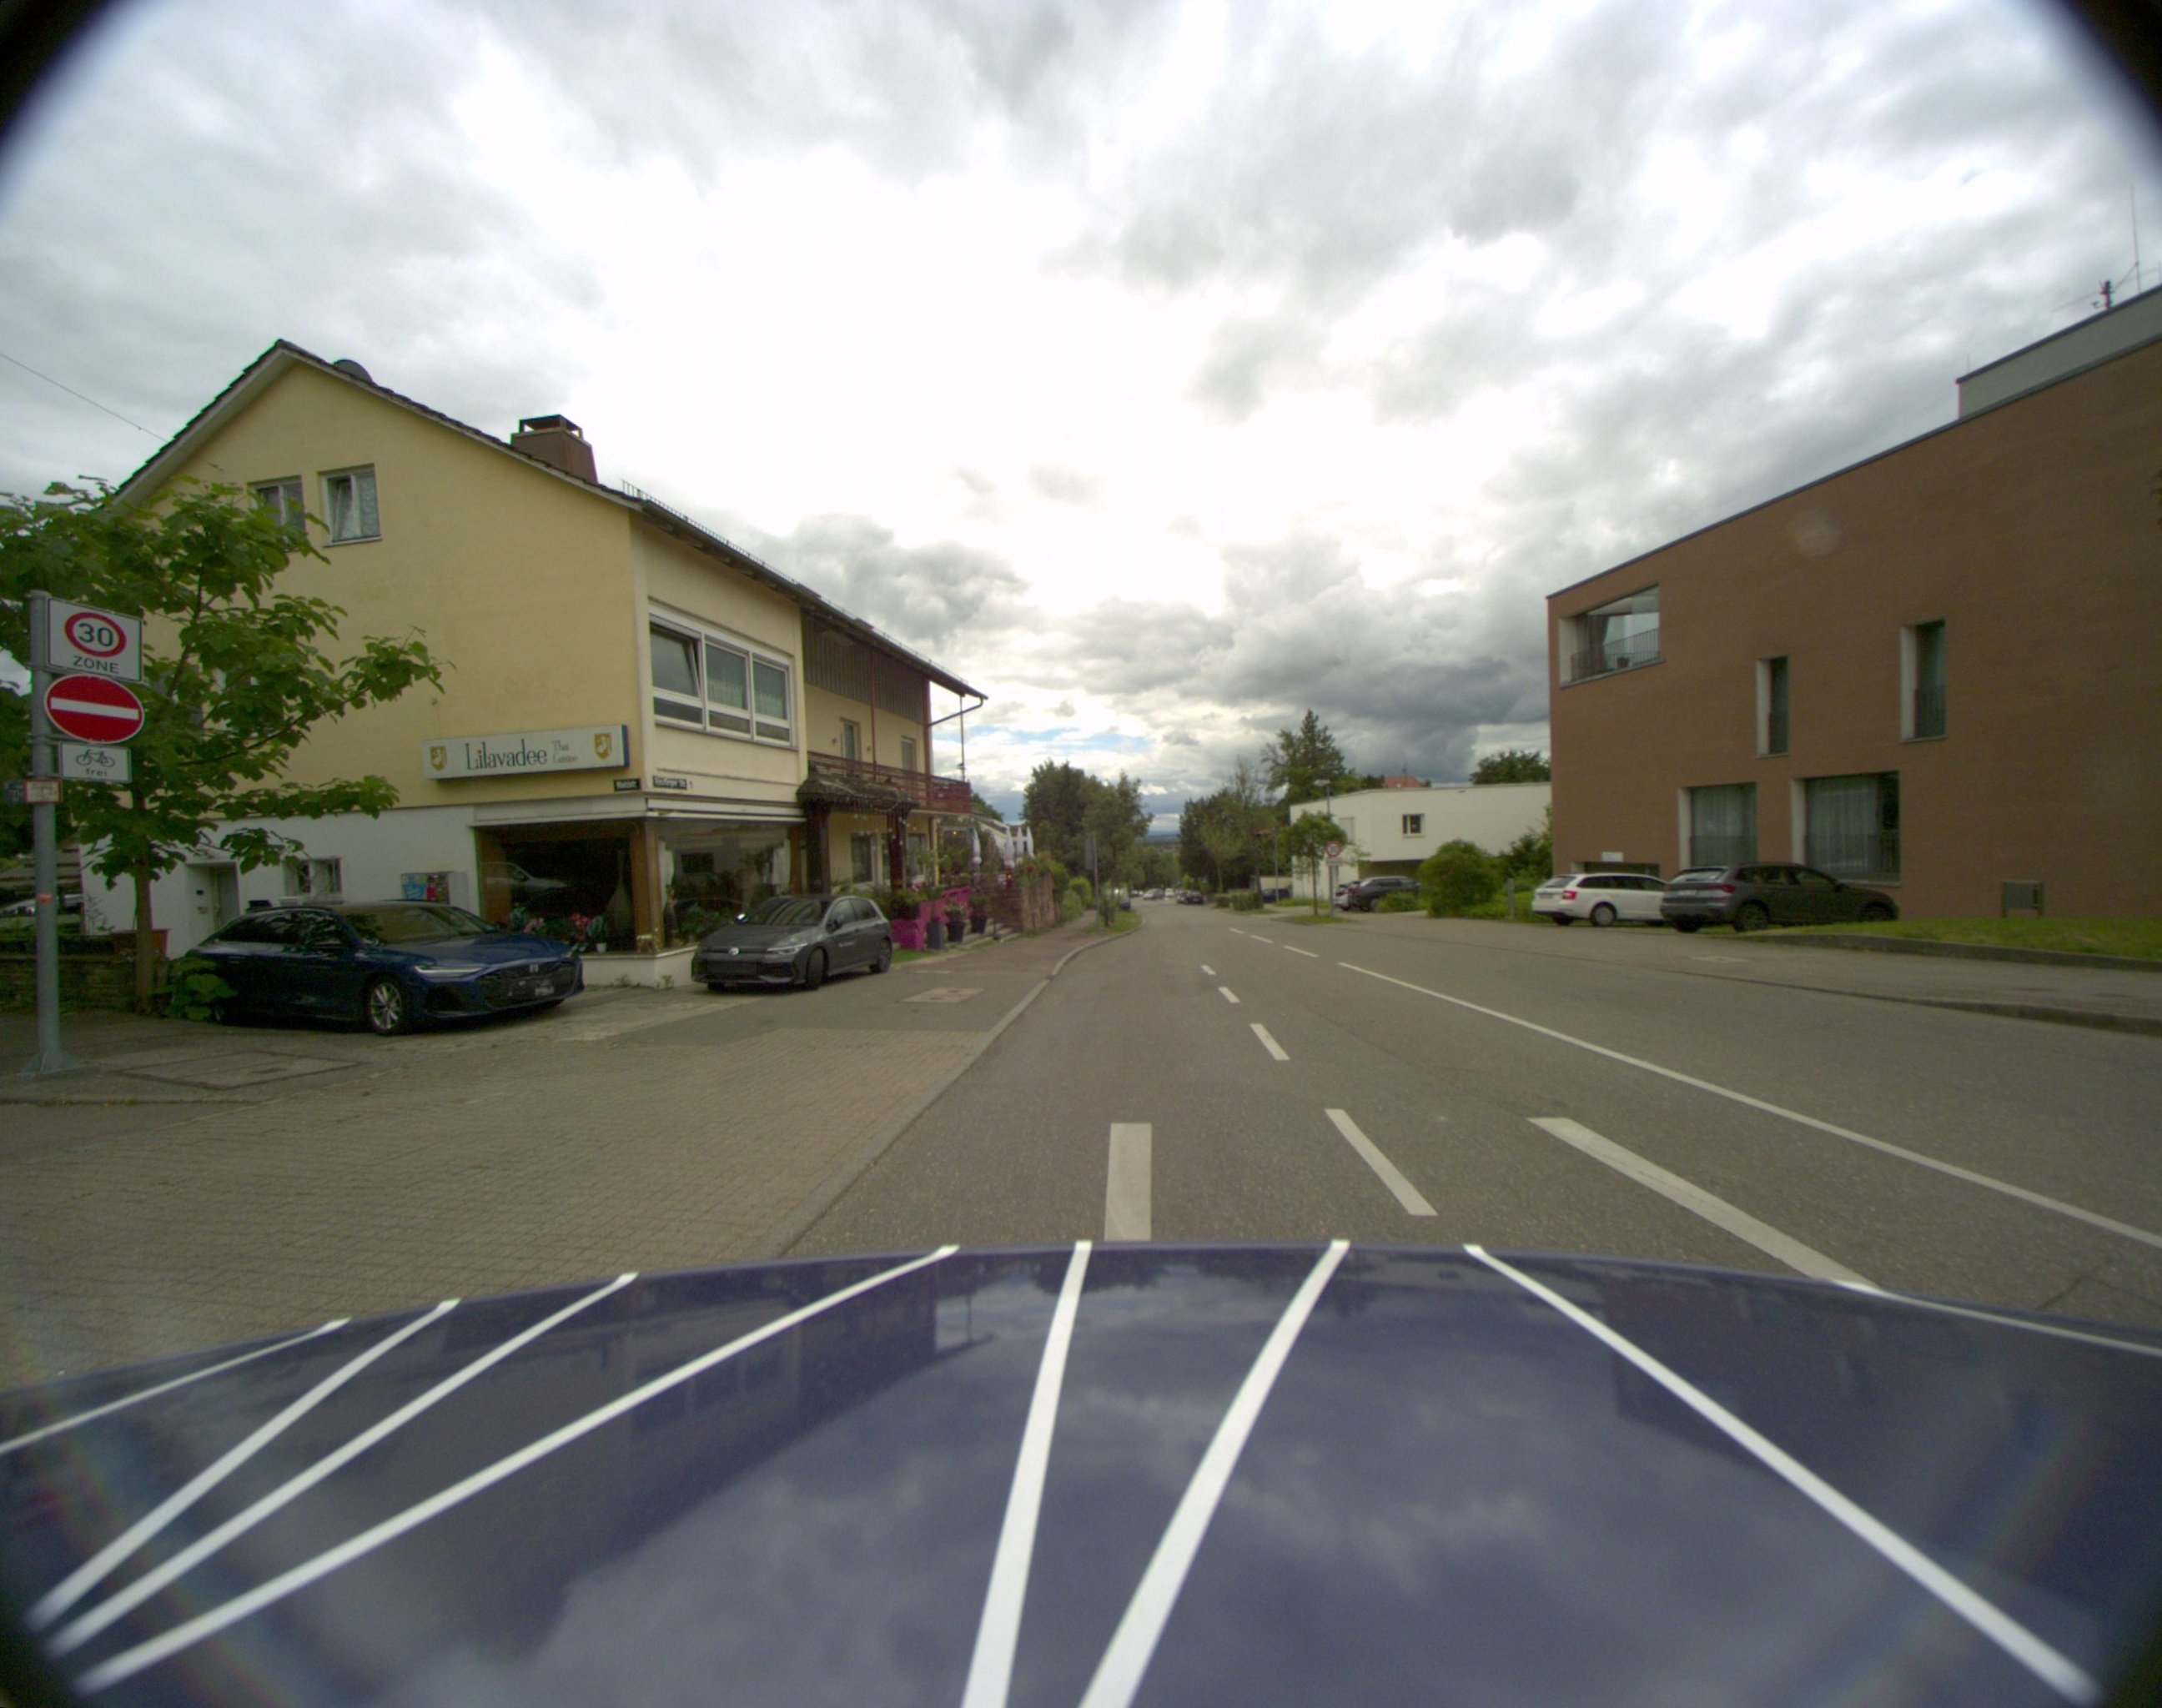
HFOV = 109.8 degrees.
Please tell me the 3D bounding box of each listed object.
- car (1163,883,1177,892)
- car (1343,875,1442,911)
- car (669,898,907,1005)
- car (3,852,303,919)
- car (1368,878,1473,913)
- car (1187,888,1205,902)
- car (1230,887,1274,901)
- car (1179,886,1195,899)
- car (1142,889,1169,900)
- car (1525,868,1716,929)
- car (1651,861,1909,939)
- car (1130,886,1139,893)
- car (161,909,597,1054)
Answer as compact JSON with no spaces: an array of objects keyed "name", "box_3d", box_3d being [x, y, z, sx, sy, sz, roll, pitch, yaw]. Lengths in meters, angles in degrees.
[{"name":"car","box_3d":[16.189,6.075,137.969,1.884,1.412,4.368,-1,-1,-2]},{"name":"car","box_3d":[15.046,1.896,36.873,3.996,1.585,1.795,-2,-3,3]},{"name":"car","box_3d":[-4.551,1.477,12.621,1.796,1.452,4.332,-1,-4,8]},{"name":"car","box_3d":[-22.711,0.825,18.874,1.795,1.452,4.336,-2,-4,22]},{"name":"car","box_3d":[15.591,1.897,35.032,3.996,1.476,1.728,-2,-3,3]},{"name":"car","box_3d":[12.168,4.302,80.574,1.661,1.412,4.004,-2,-3,6]},{"name":"car","box_3d":[16.535,3.887,73.726,3.995,1.278,1.665,-2,-3,7]},{"name":"car","box_3d":[12.484,4.558,89.572,1.661,1.412,4.372,-2,-3,6]},{"name":"car","box_3d":[11.407,6.193,115.947,4.009,1.476,1.722,1,-4,-41]},{"name":"car","box_3d":[14.606,1.196,20.711,3.998,1.476,1.727,-1,-3,-3]},{"name":"car","box_3d":[14.906,0.973,16.344,3.998,1.476,1.727,-1,-3,-3]},{"name":"car","box_3d":[12.819,8.588,183.762,1.883,1.412,4.369,-1,-1,1]},{"name":"car","box_3d":[-8.537,1.416,9.284,4.739,1.378,1.802,-2,-1,18]}]
